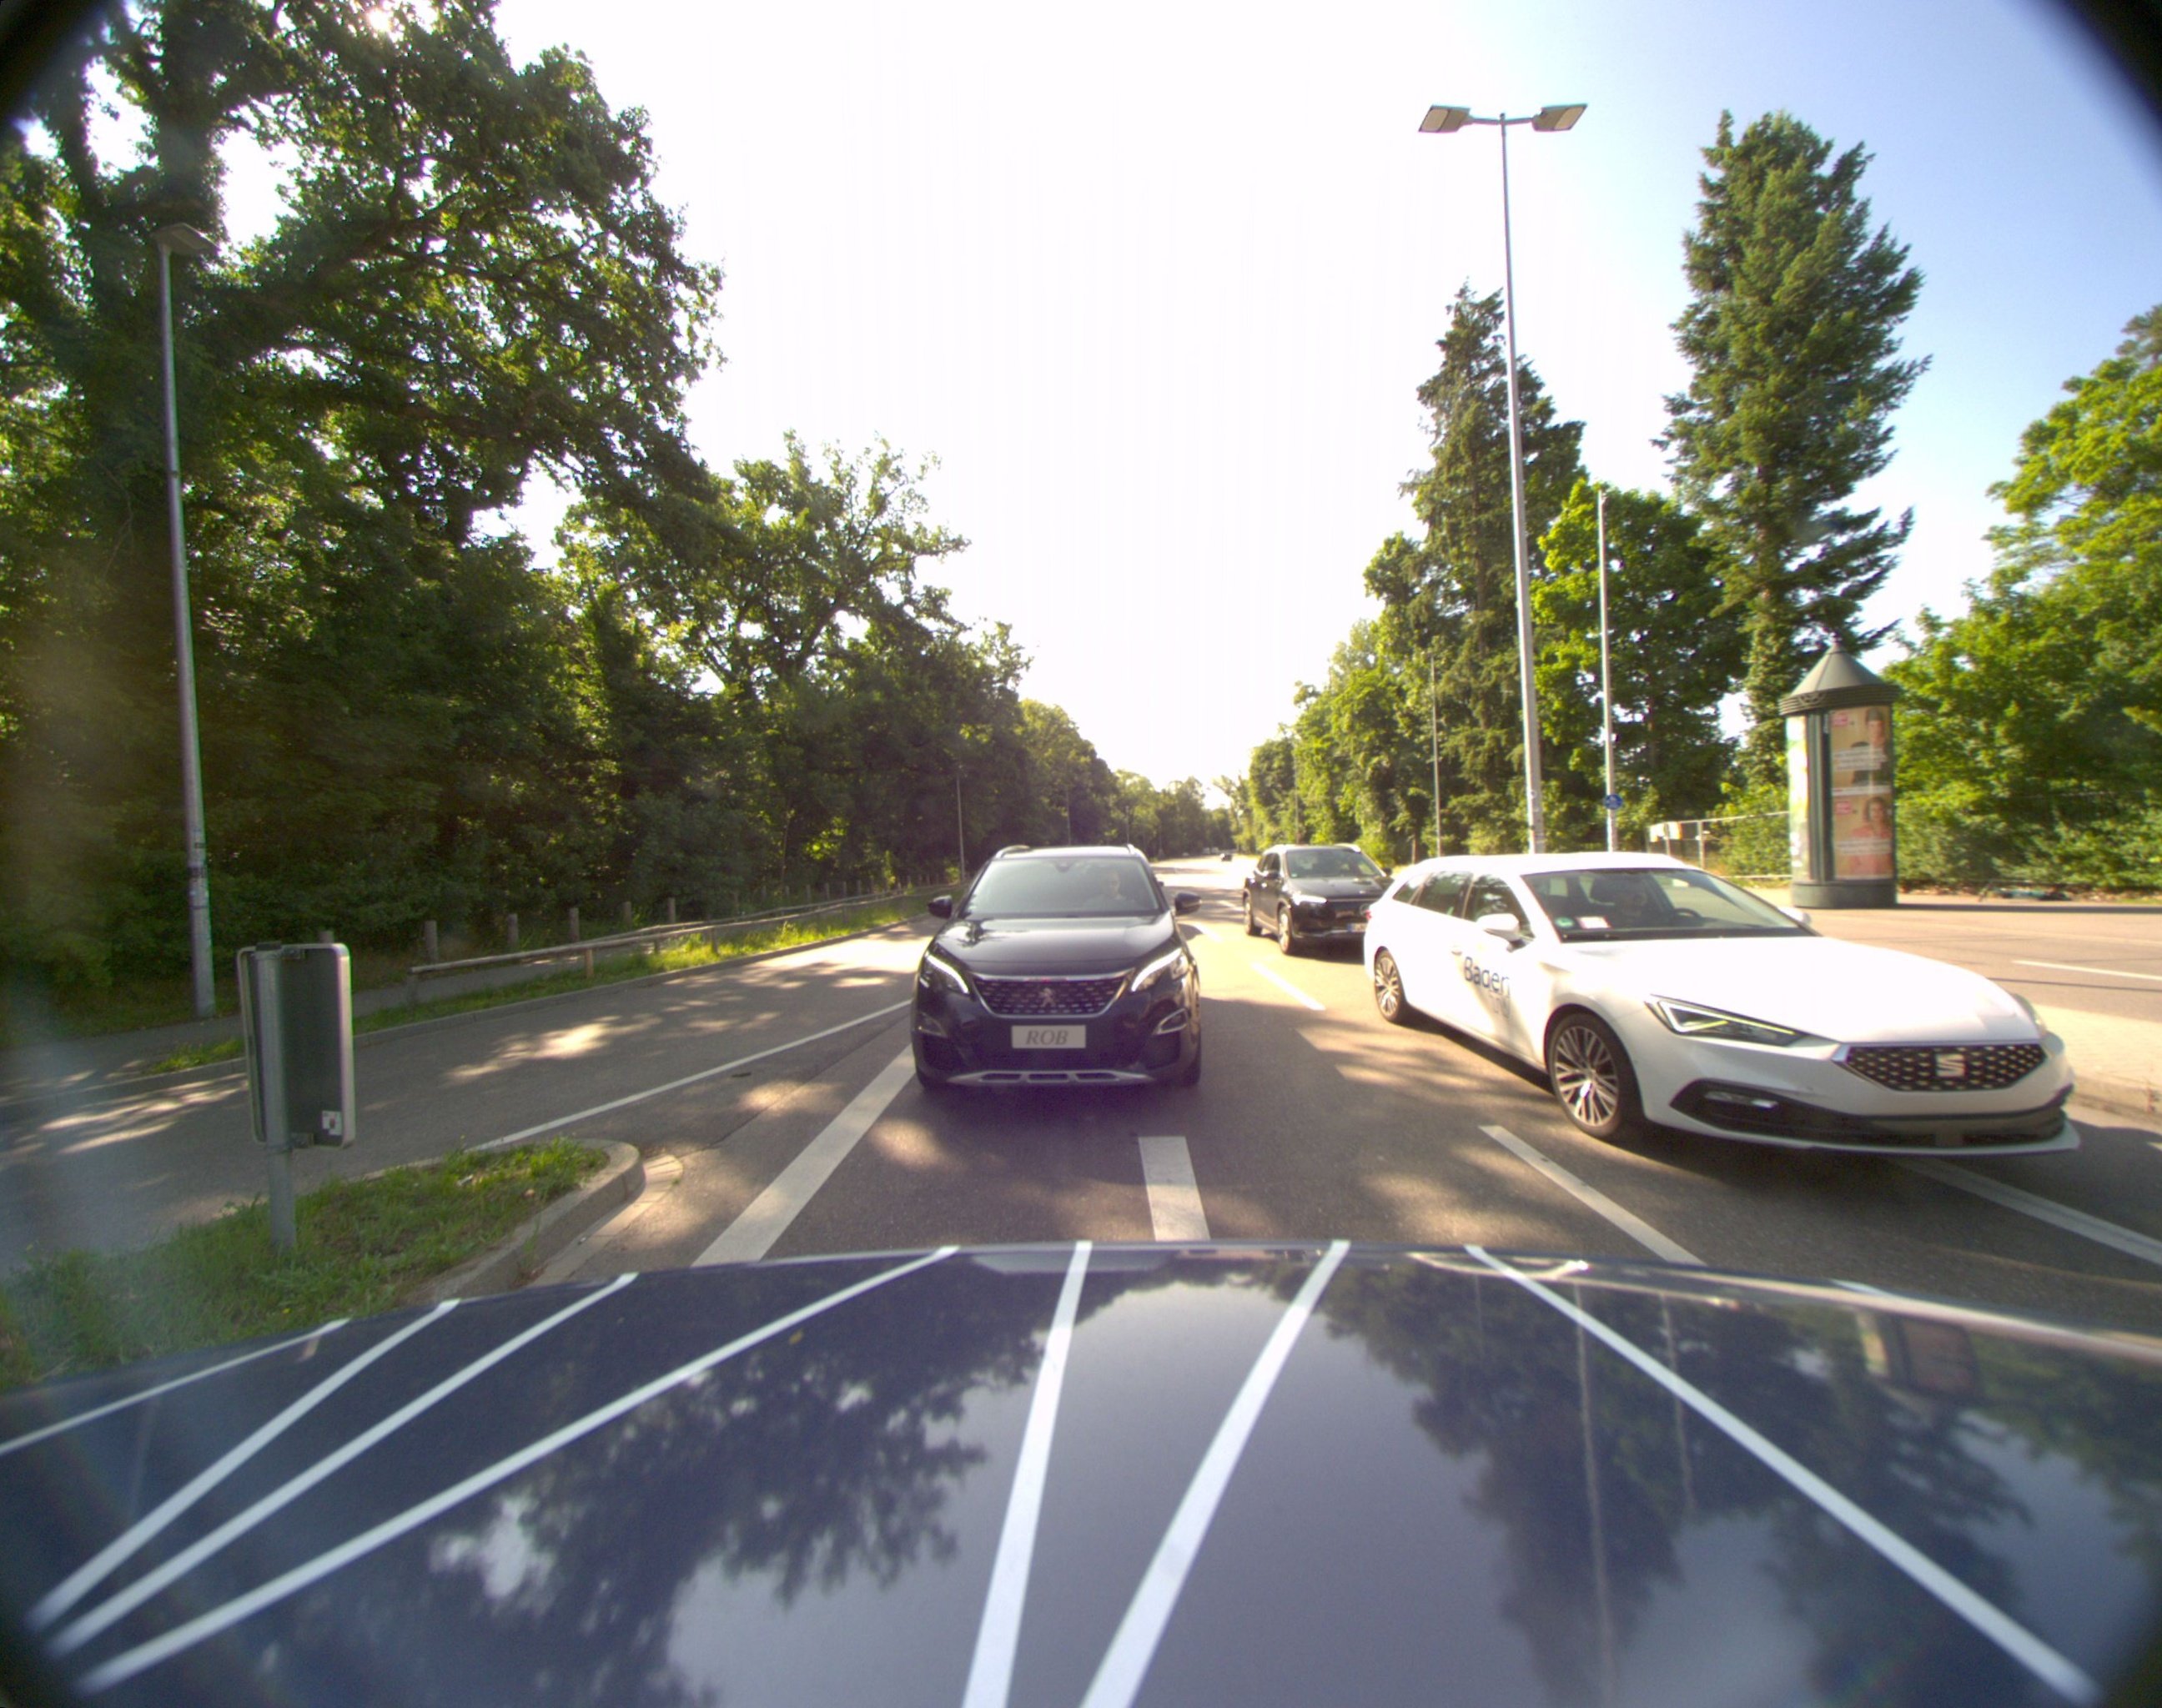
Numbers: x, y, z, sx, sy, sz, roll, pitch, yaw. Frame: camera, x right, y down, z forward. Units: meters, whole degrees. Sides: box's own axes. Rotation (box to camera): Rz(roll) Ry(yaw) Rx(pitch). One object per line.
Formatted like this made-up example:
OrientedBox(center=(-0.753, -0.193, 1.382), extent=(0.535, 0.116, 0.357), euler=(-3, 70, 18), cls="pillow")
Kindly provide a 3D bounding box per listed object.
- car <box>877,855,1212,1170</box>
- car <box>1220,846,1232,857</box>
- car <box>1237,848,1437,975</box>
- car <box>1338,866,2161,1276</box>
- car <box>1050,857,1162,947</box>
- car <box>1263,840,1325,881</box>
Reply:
OrientedBox(center=(-0.162, 0.846, 6.178), extent=(1.702, 1.581, 4.319), euler=(-2, 0, 1), cls="car")
OrientedBox(center=(24.701, -0.439, 129.497), extent=(1.855, 1.608, 4.003), euler=(-2, 0, 9), cls="car")
OrientedBox(center=(3.750, 0.764, 11.975), extent=(1.809, 1.586, 4.274), euler=(-2, 0, 2), cls="car")
OrientedBox(center=(3.394, 0.854, 5.201), extent=(1.729, 1.418, 4.720), euler=(-1, 0, 1), cls="car")
OrientedBox(center=(0.472, 0.865, 15.566), extent=(1.933, 1.499, 4.000), euler=(-2, 0, 1), cls="car")
OrientedBox(center=(10.298, 0.292, 37.039), extent=(1.877, 1.849, 4.000), euler=(-2, 0, 1), cls="car")
